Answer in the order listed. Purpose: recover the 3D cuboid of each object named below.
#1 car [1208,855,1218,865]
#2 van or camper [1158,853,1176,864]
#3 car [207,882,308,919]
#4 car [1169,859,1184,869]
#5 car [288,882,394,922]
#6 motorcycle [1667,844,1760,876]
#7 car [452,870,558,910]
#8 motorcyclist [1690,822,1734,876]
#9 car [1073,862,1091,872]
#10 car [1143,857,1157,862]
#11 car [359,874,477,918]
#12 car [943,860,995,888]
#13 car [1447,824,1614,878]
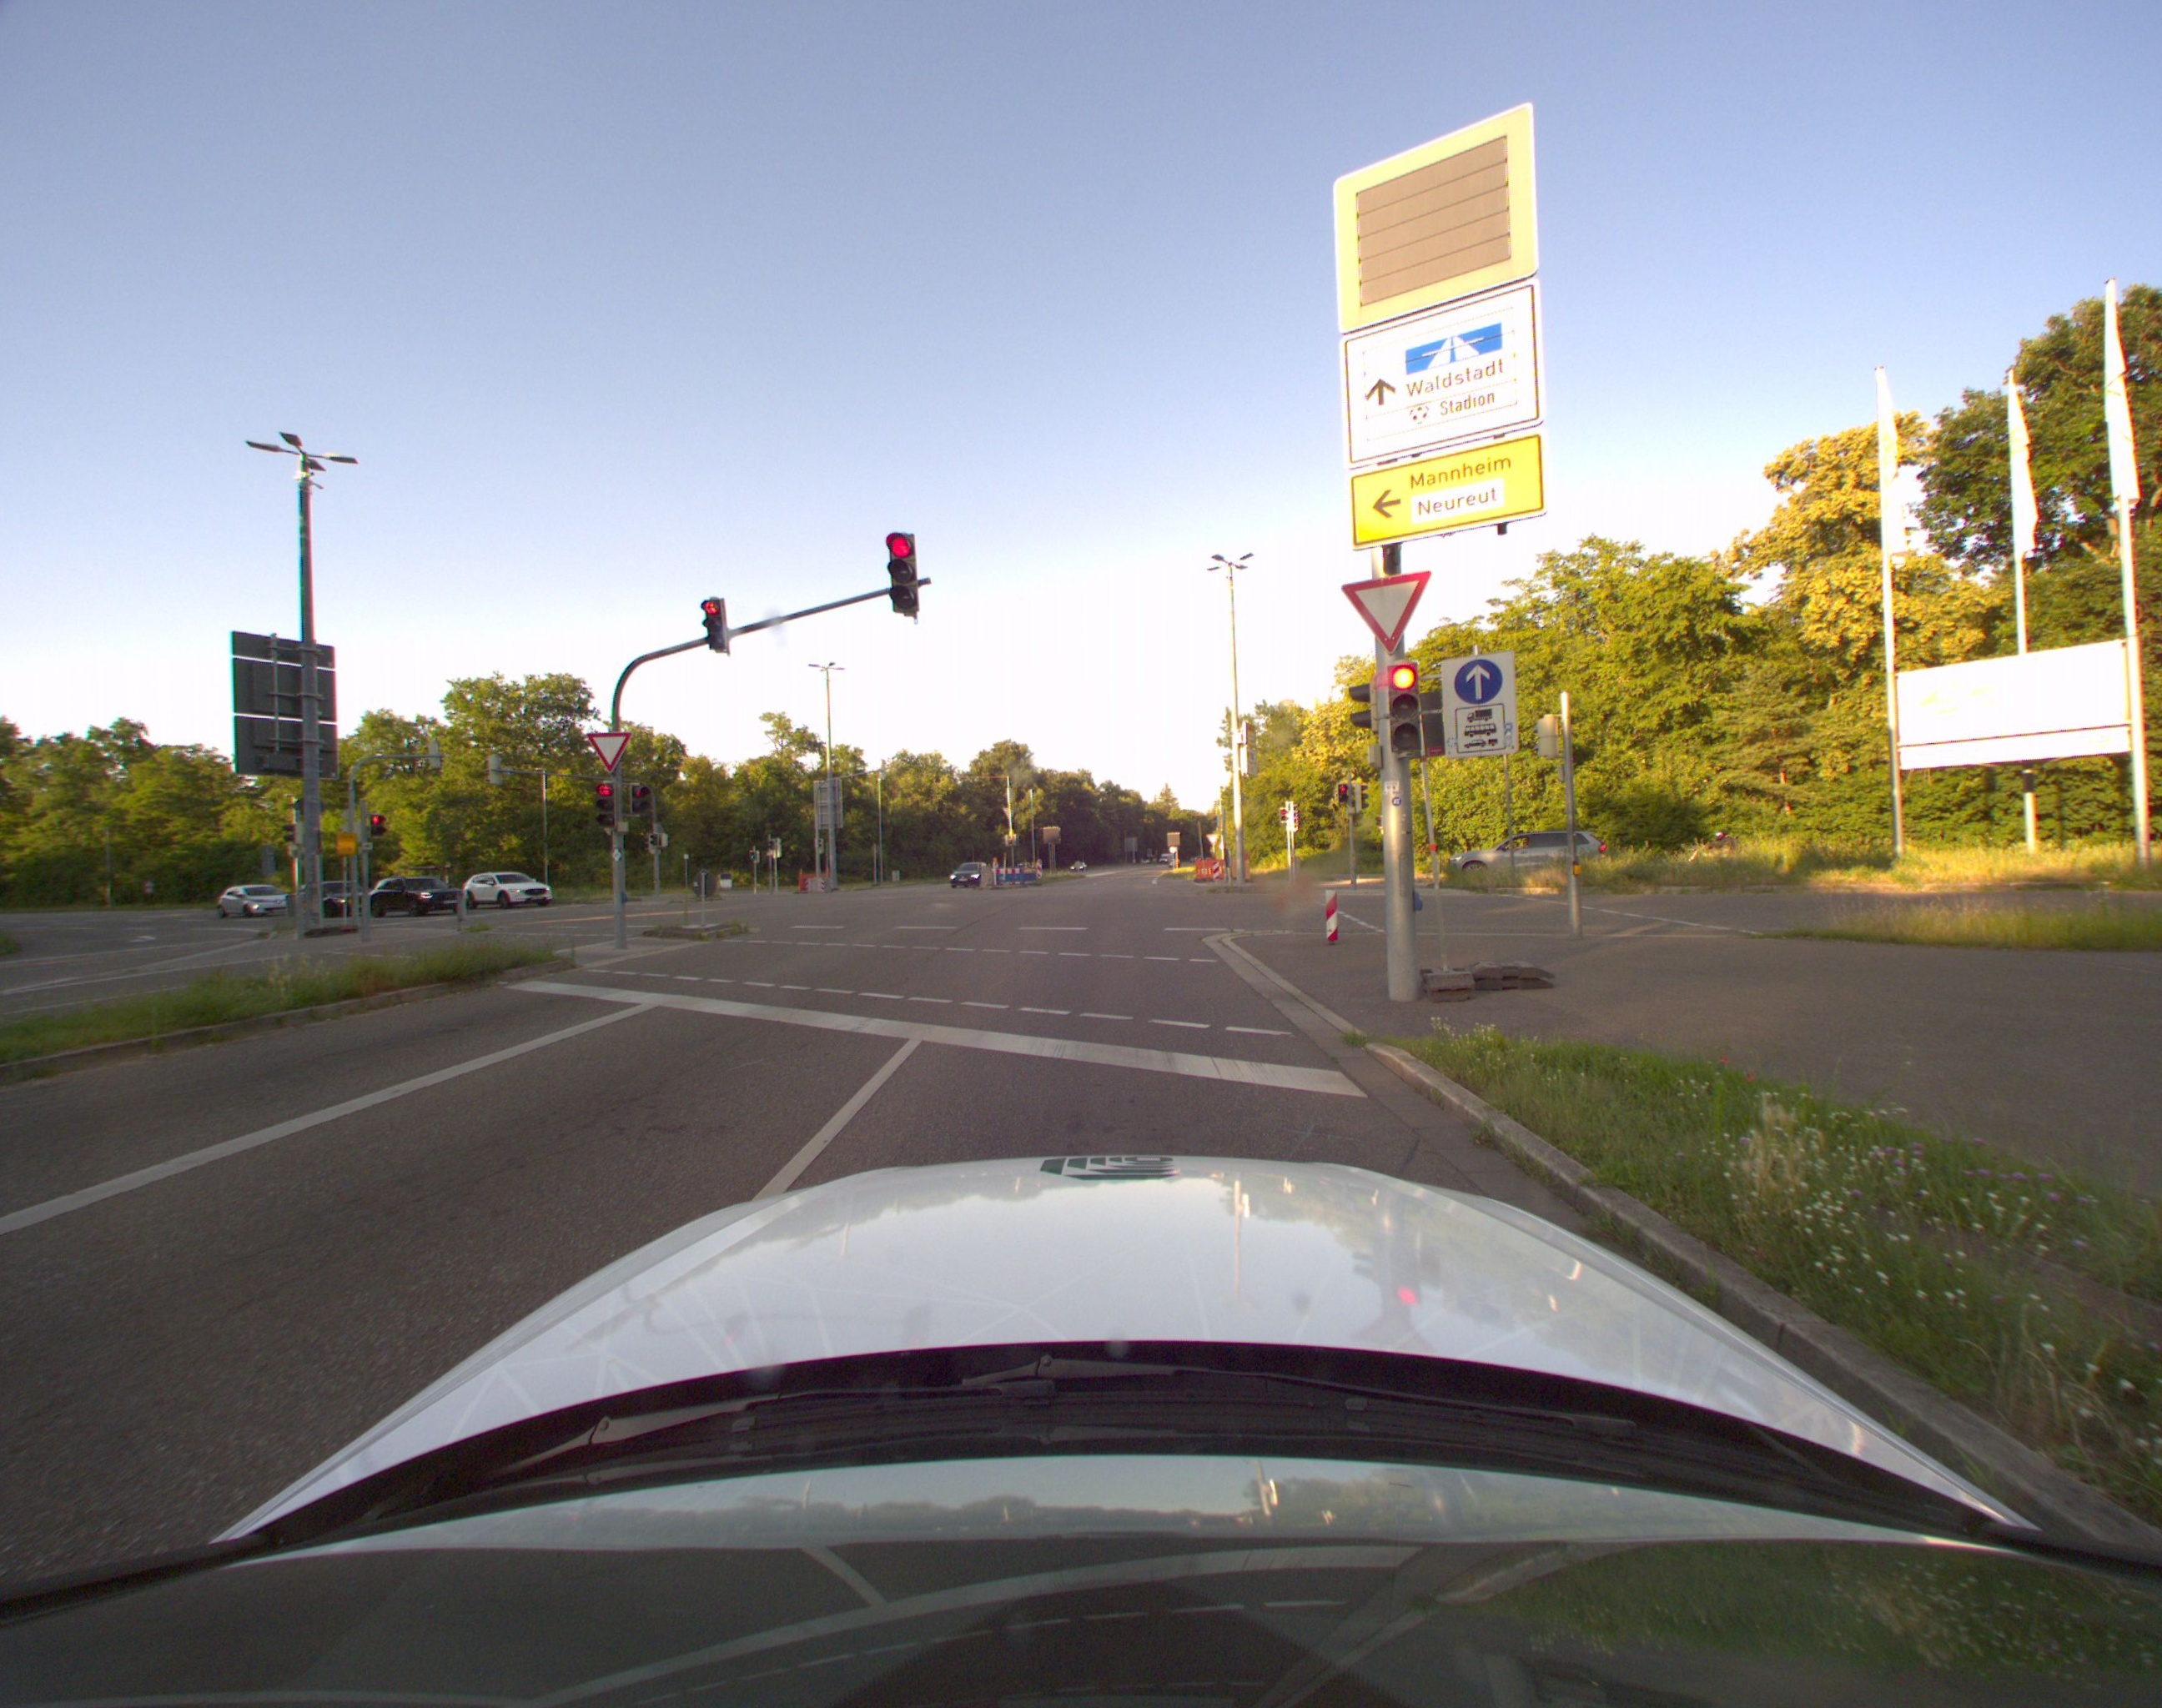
[{"bbox_3d":[29.376,1.255,180.956,1.774,2.013,4.017,-2,0,16],"label":"car"},{"bbox_3d":[22.239,1.182,210.408,2.862,2.652,7.156,-2,0,19],"label":"van or camper"},{"bbox_3d":[-41.016,2.308,40.564,4.207,1.640,2.011,-2,0,21],"label":"car"},{"bbox_3d":[16.756,1.791,142.767,1.978,1.618,4.017,-2,0,16],"label":"car"},{"bbox_3d":[-33.701,2.189,37.091,4.205,1.640,2.011,-2,0,24],"label":"car"},{"bbox_3d":[19.302,0.184,24.914,2.125,0.910,0.666,-2,0,23],"label":"motorcycle"},{"bbox_3d":[-26.536,1.651,37.524,4.205,1.640,2.011,-2,0,23],"label":"car"},{"bbox_3d":[19.295,-0.154,24.908,0.878,1.595,0.658,-2,0,23],"label":"motorcyclist"},{"bbox_3d":[0.177,1.984,126.816,1.980,1.420,4.014,-2,0,12],"label":"car"},{"bbox_3d":[20.444,1.634,241.595,3.968,1.724,1.848,0,-1,5],"label":"car"},{"bbox_3d":[-27.347,1.719,33.587,4.205,1.640,2.011,-2,0,23],"label":"car"},{"bbox_3d":[-6.562,1.146,48.271,1.984,1.530,4.684,-2,0,5],"label":"car"},{"bbox_3d":[15.199,-0.086,27.894,4.772,1.598,2.011,-2,0,23],"label":"car"}]
